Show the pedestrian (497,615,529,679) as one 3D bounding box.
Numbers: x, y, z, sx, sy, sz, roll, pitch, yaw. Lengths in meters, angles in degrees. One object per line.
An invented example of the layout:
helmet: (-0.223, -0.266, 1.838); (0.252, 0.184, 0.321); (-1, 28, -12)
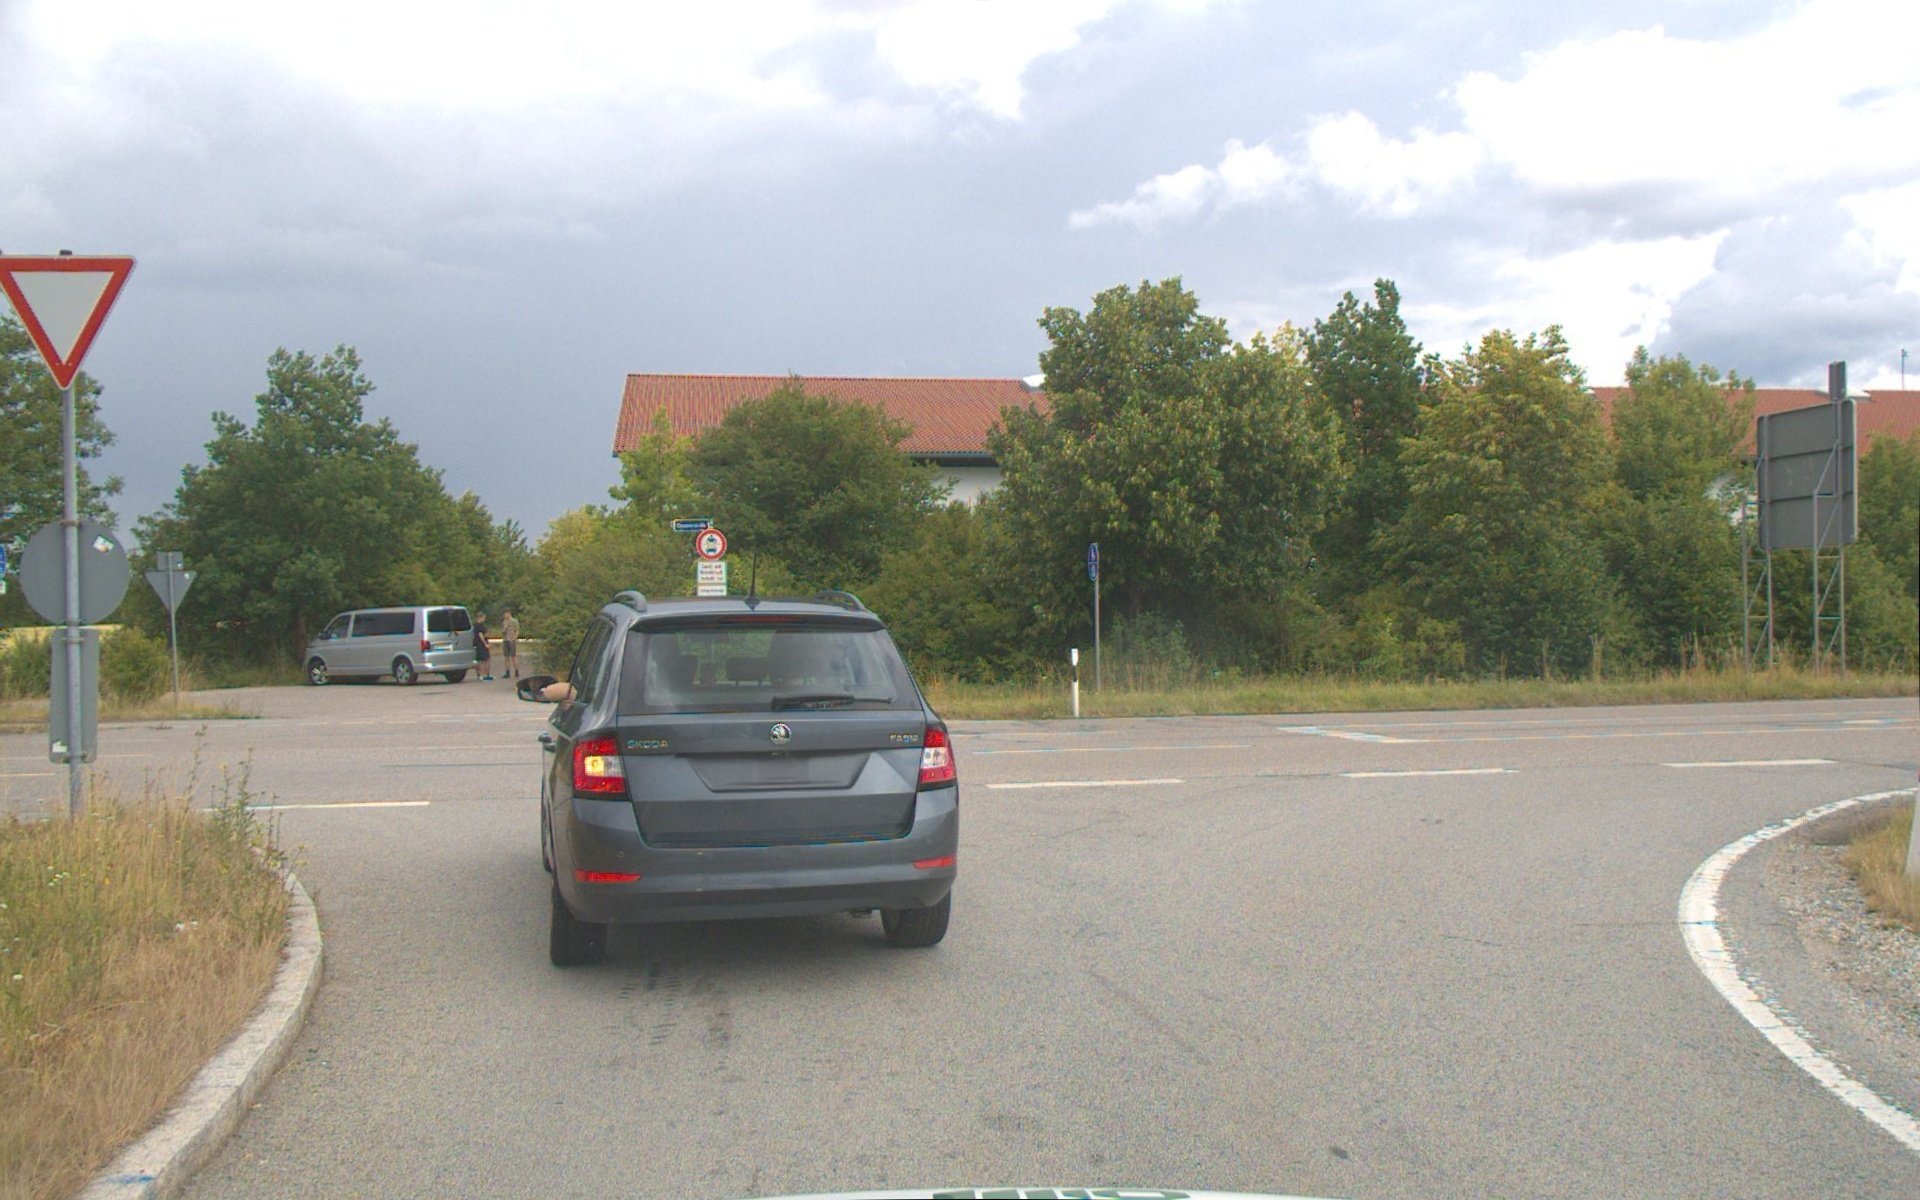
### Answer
pedestrian: (-12.154, 1.277, 44.983); (0.571, 1.712, 0.566); (-1, 1, 17)

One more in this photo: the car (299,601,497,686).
car: (-14.817, 1.121, 43.564); (4.807, 2.048, 2.338); (-1, 1, 30)

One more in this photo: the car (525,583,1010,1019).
car: (-1.117, 0.667, 7.660); (1.649, 1.488, 3.691); (0, 1, -16)

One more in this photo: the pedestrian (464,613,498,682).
pedestrian: (-12.516, 1.239, 43.237); (0.518, 1.756, 0.641); (-1, 1, 28)
